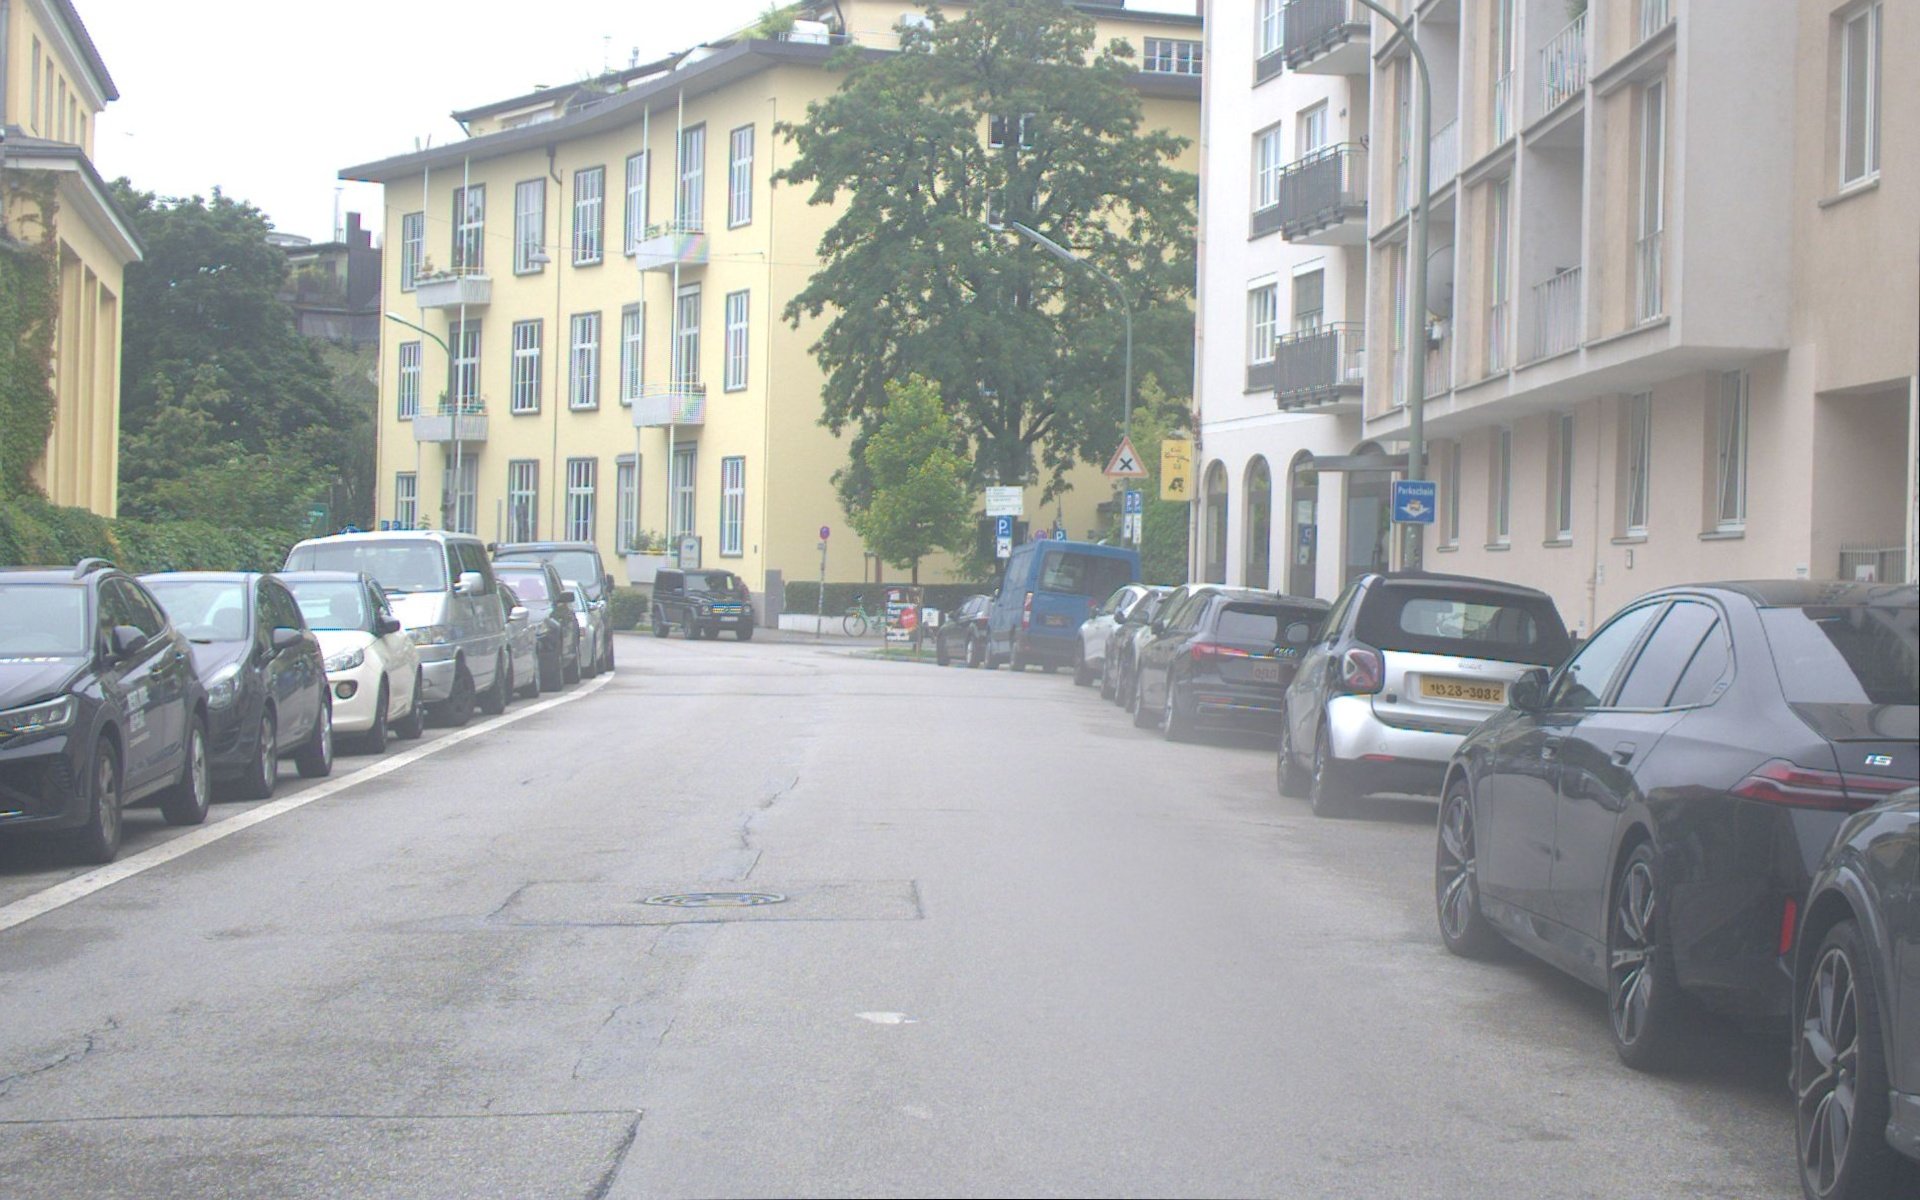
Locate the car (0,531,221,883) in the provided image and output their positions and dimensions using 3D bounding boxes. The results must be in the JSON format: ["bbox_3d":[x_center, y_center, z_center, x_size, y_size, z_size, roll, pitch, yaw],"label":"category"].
[{"bbox_3d":[-5.139,0.489,18.071,1.724,1.624,4.466,-1,0,-3],"label":"car"}]

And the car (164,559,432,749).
[{"bbox_3d":[-5.387,0.398,28.398,1.591,1.436,4.019,-1,0,-3],"label":"car"}]

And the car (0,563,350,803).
[{"bbox_3d":[-5.233,0.494,23.145,1.603,1.425,4.252,-2,0,-2],"label":"car"}]

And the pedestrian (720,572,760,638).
[{"bbox_3d":[-6.182,0.140,96.575,0.874,1.817,0.798,2,0,-21],"label":"pedestrian"}]

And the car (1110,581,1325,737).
[{"bbox_3d":[2.763,0.600,37.868,1.694,1.484,4.581,4,0,-3],"label":"car"}]

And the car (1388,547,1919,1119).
[{"bbox_3d":[2.833,0.644,11.822,1.802,1.479,5.320,4,0,-2],"label":"car"}]

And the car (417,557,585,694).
[{"bbox_3d":[-5.840,0.299,44.154,1.697,1.637,4.490,-1,0,-2],"label":"car"}]

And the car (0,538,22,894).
[{"bbox_3d":[-5.066,0.548,13.215,1.789,1.581,4.819,-1,1,-3],"label":"car"}]

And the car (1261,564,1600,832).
[{"bbox_3d":[2.955,0.579,22.129,1.650,1.490,2.881,4,0,-1],"label":"car"}]

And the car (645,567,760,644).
[{"bbox_3d":[-7.249,0.133,96.352,1.762,1.868,4.380,6,-1,-23],"label":"car"}]

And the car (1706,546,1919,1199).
[{"bbox_3d":[2.822,0.743,6.516,1.645,1.584,4.634,4,0,-1],"label":"car"}]

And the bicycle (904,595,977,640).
[{"bbox_3d":[-0.549,0.485,96.186,1.923,1.197,0.595,2,0,13],"label":"bicycle"}]

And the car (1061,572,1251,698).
[{"bbox_3d":[2.692,0.454,48.232,1.785,1.528,4.649,5,0,-7],"label":"car"}]

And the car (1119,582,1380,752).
[{"bbox_3d":[2.679,0.581,32.904,1.745,1.383,4.954,4,0,-3],"label":"car"}]

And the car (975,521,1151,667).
[{"bbox_3d":[1.731,-0.045,59.911,2.078,2.226,5.245,6,-2,-7],"label":"car"}]

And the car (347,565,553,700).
[{"bbox_3d":[-5.773,0.338,39.395,1.653,1.409,4.771,-2,0,-1],"label":"car"}]

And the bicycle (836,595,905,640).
[{"bbox_3d":[-2.539,0.486,97.365,1.926,1.197,0.594,2,0,36],"label":"bicycle"}]

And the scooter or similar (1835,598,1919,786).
[{"bbox_3d":[7.021,0.684,25.311,0.439,1.354,1.590,2,-2,-12],"label":"scooter or similar"}]

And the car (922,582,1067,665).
[{"bbox_3d":[0.622,0.430,66.045,1.676,1.384,4.307,6,-1,-13],"label":"car"}]

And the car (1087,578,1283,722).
[{"bbox_3d":[2.733,0.566,42.901,1.880,1.517,5.164,5,0,-1],"label":"car"}]

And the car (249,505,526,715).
[{"bbox_3d":[-5.543,0.078,33.851,1.887,1.883,4.774,-1,0,0],"label":"car"}]

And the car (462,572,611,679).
[{"bbox_3d":[-6.039,0.338,49.459,1.694,1.388,4.501,-3,1,-2],"label":"car"}]

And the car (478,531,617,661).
[{"bbox_3d":[-6.537,-0.064,54.701,2.072,1.957,5.351,0,0,-6],"label":"car"}]
